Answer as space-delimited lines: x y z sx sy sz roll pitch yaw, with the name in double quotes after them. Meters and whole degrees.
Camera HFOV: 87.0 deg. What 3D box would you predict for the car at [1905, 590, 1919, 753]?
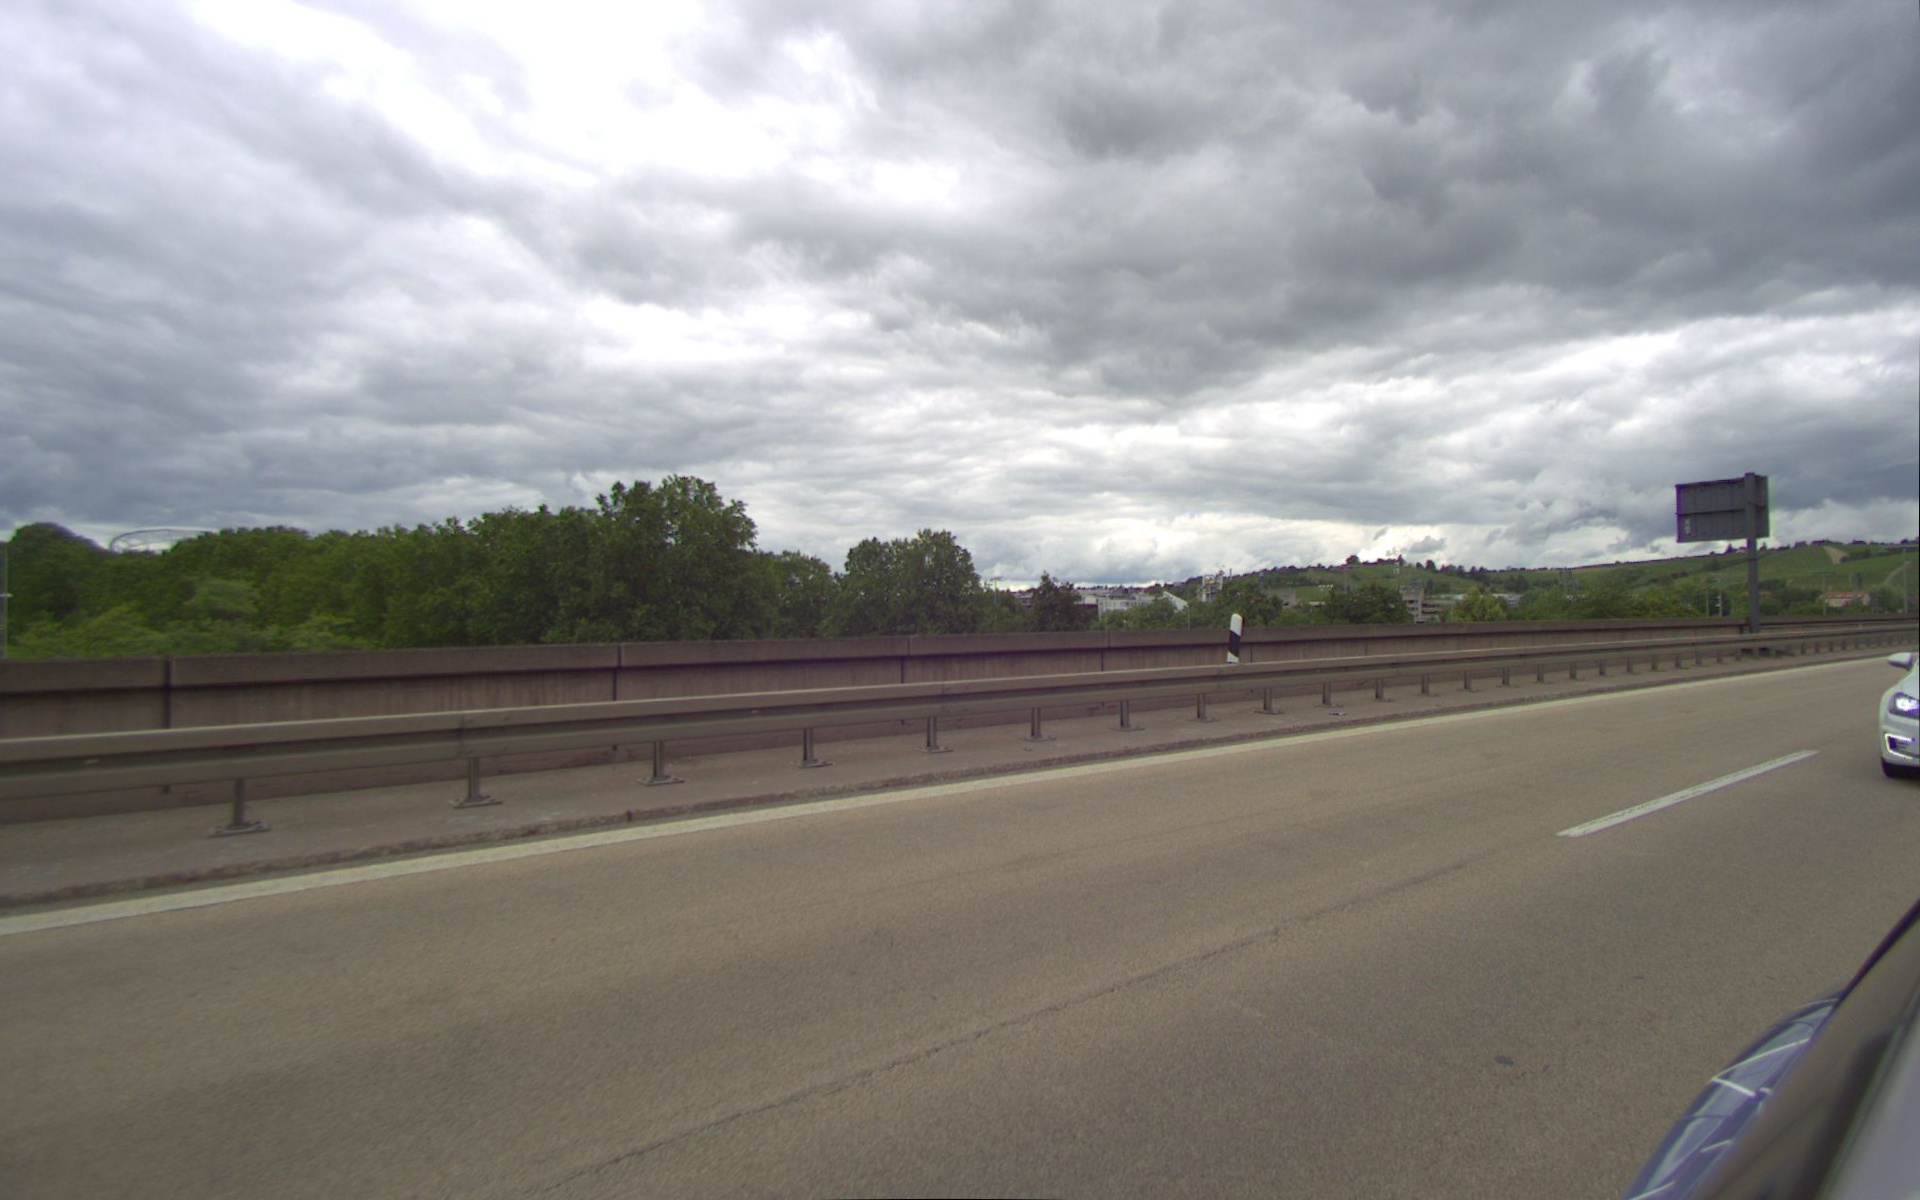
11.083 0.647 9.889 3.984 1.527 1.932 -1 1 -35 "car"
